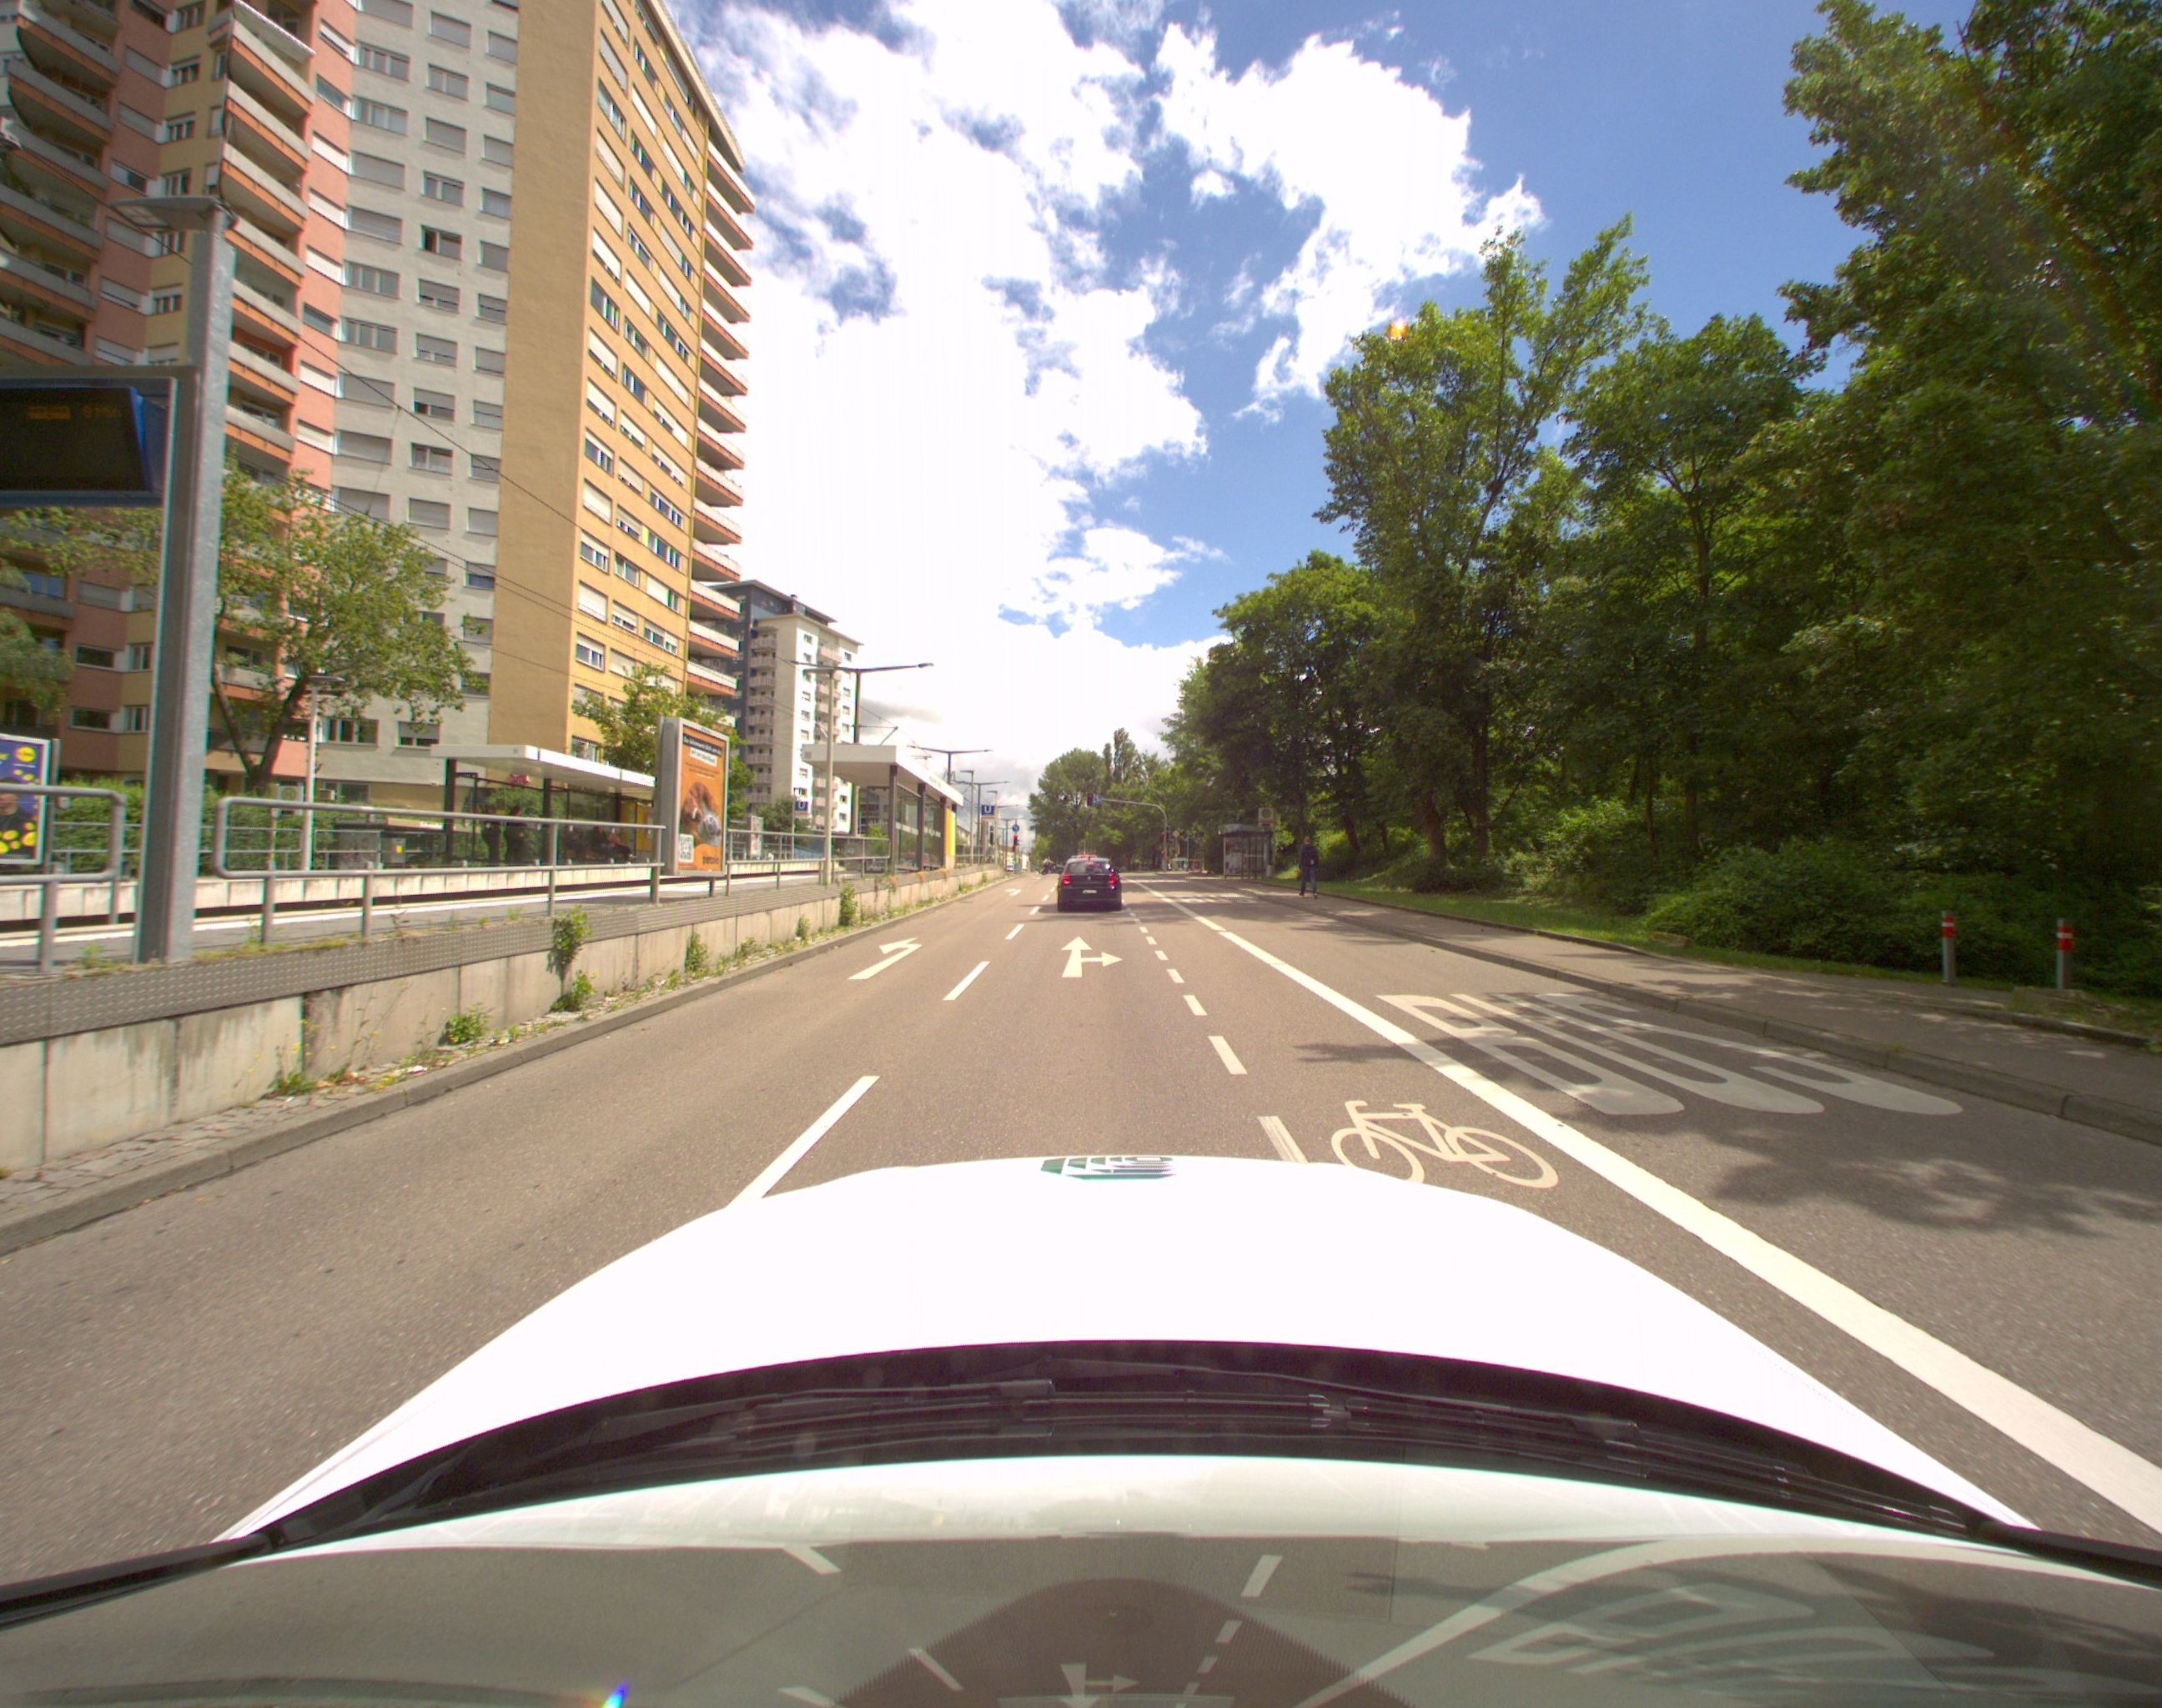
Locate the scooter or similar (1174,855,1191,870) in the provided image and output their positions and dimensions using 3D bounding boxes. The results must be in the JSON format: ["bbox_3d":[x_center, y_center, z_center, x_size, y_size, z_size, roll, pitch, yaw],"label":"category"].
[{"bbox_3d":[8.440,0.688,67.773,1.290,1.189,0.382,-1,-1,-16],"label":"scooter or similar"}]

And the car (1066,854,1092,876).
[{"bbox_3d":[-0.157,0.742,55.115,1.650,1.419,3.515,0,0,-1],"label":"car"}]

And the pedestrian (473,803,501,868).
[{"bbox_3d":[-15.361,-0.467,21.069,0.523,1.644,0.559,0,-1,-32],"label":"pedestrian"}]

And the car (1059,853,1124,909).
[{"bbox_3d":[0.320,0.704,22.562,1.648,1.419,3.518,0,0,2],"label":"car"}]

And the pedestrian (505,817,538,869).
[{"bbox_3d":[-15.131,-0.287,22.030,0.541,1.380,0.520,-1,-3,-9],"label":"pedestrian"}]

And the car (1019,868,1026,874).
[{"bbox_3d":[-16.817,4.878,234.756,1.961,1.596,3.997,0,0,-2],"label":"car"}]

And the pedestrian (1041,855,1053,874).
[{"bbox_3d":[-2.640,0.810,63.609,0.862,1.442,0.799,-1,0,1],"label":"pedestrian"}]

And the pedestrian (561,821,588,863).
[{"bbox_3d":[-15.223,-0.360,24.464,0.520,1.236,0.541,-1,0,-12],"label":"pedestrian"}]

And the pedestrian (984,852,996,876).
[{"bbox_3d":[-6.370,0.715,57.073,0.699,1.632,0.637,-1,0,-1],"label":"pedestrian"}]

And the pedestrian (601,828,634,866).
[{"bbox_3d":[-15.031,-0.225,26.426,0.740,1.236,0.517,-1,0,0],"label":"pedestrian"}]

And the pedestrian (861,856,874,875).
[{"bbox_3d":[-14.812,0.794,56.454,0.691,1.343,0.852,0,0,-30],"label":"pedestrian"}]

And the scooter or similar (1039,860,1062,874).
[{"bbox_3d":[-2.386,1.015,63.127,1.778,1.051,0.409,-1,0,-7],"label":"scooter or similar"}]

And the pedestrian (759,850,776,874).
[{"bbox_3d":[-22.461,0.558,58.379,0.851,1.696,0.692,0,-1,14],"label":"pedestrian"}]

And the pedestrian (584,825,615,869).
[{"bbox_3d":[-15.121,-0.228,25.574,0.641,1.369,0.507,-1,0,0],"label":"pedestrian"}]

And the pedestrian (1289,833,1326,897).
[{"bbox_3d":[6.886,0.316,24.826,0.798,1.895,1.271,0,0,1],"label":"pedestrian"}]

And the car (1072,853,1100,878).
[{"bbox_3d":[0.324,0.660,48.273,1.589,1.419,3.517,0,0,1],"label":"car"}]

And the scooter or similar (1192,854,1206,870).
[{"bbox_3d":[9.927,0.676,68.588,1.107,1.258,0.330,-1,-1,-12],"label":"scooter or similar"}]
